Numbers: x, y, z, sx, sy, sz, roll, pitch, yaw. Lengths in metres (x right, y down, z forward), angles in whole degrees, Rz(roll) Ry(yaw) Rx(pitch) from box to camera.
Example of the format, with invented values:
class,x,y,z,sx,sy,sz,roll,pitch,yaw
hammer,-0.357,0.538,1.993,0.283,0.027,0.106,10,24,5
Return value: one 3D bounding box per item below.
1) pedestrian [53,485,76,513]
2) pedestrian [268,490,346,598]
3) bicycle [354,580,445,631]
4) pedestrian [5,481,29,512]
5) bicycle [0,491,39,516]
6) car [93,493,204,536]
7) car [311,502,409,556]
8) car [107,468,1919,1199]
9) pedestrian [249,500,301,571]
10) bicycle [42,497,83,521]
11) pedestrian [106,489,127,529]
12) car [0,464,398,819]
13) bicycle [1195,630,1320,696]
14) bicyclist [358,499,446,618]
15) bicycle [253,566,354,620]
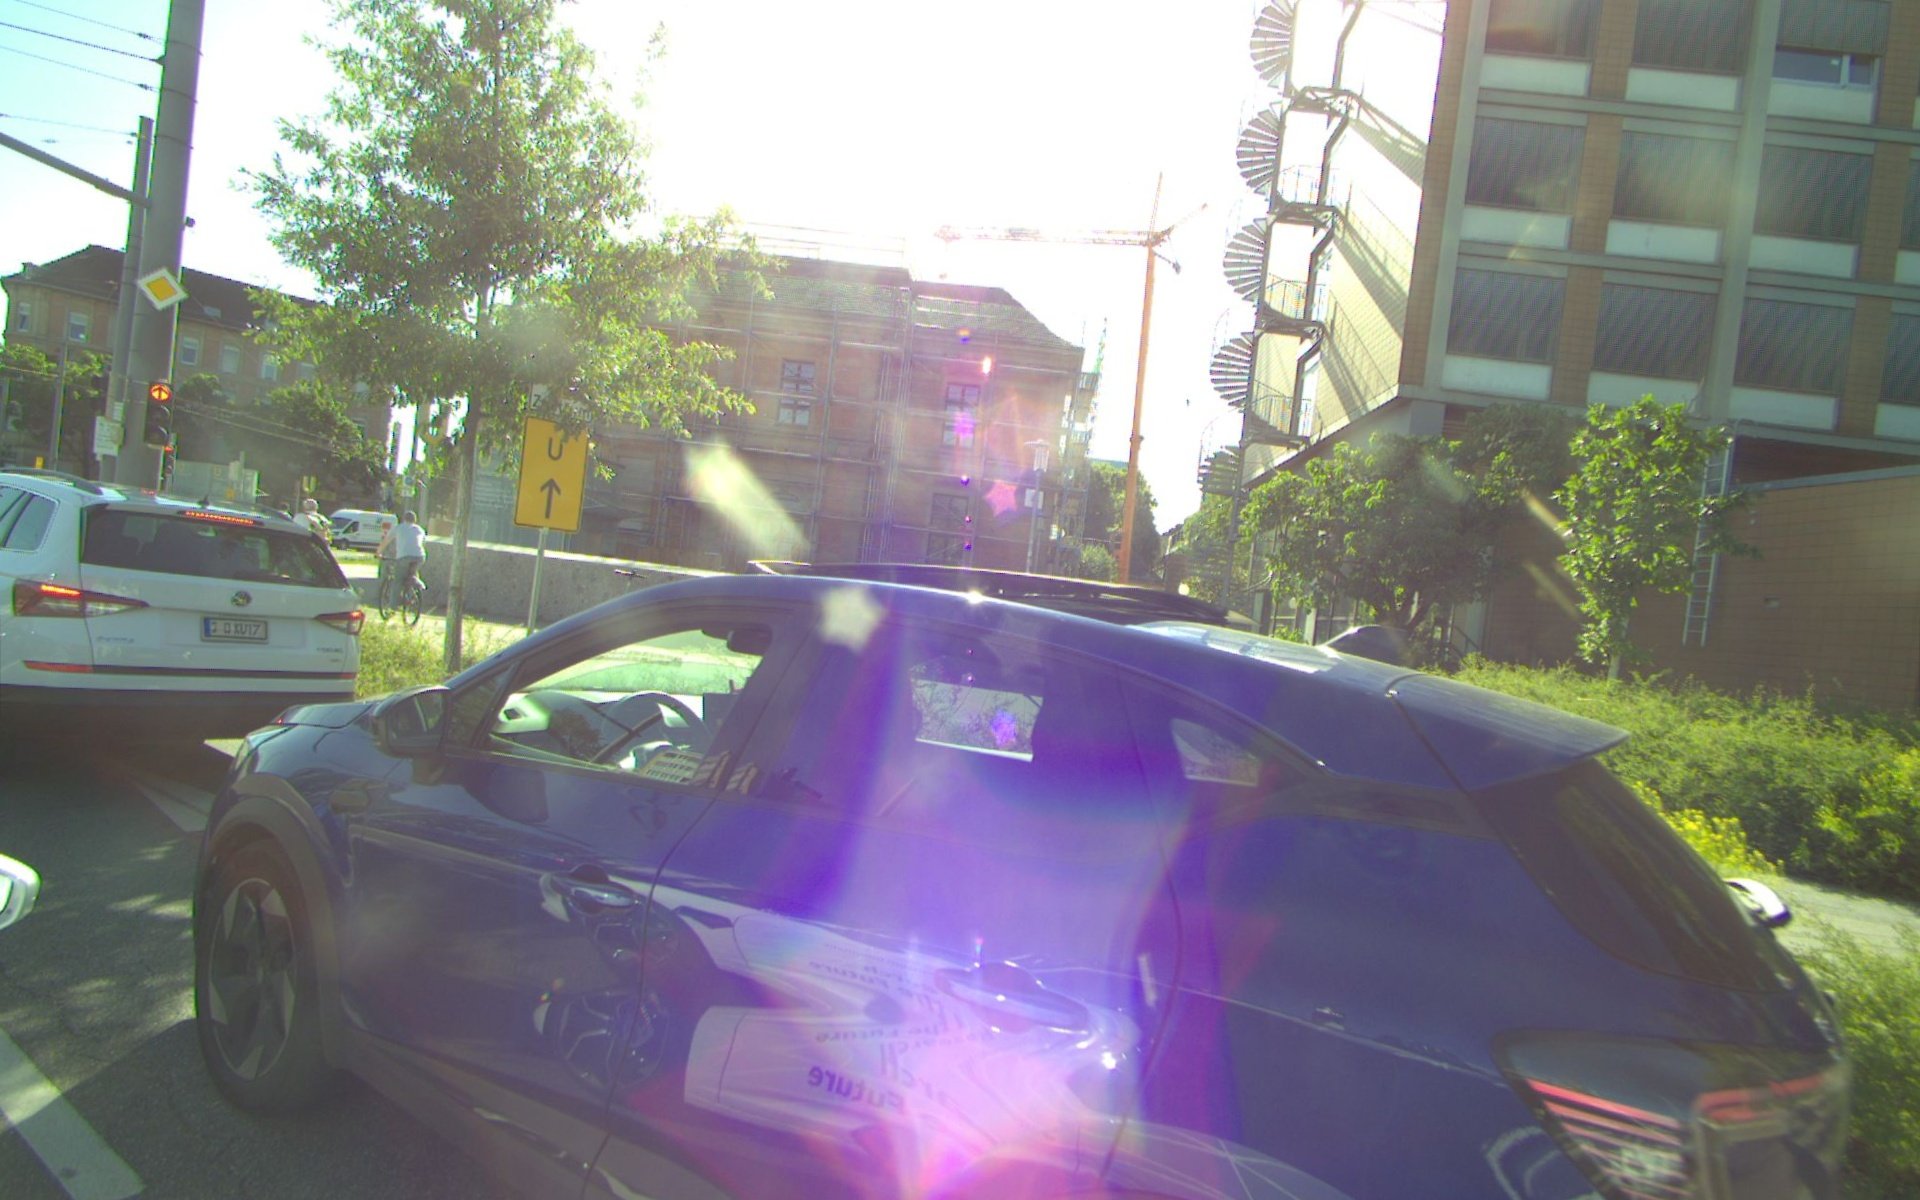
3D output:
class,x,y,z,sx,sy,sz,roll,pitch,yaw
pedestrian,-52.544,-5.920,59.015,0.538,1.536,0.706,7,1,-1
pedestrian,-10.350,-0.884,15.949,0.843,1.582,0.549,7,1,26
bicycle,-9.082,0.085,16.301,1.442,0.664,0.538,7,1,27
pedestrian,-50.663,-5.575,54.050,0.540,1.536,0.704,7,1,-14
bicycle,-50.758,-5.200,54.292,0.540,1.134,2.013,7,0,-14
car,-41.938,-4.387,52.102,1.672,1.521,4.267,7,0,12
car,-39.153,-4.580,65.901,2.103,2.778,5.926,7,0,7
car,-0.363,0.686,2.656,4.017,1.625,1.703,7,0,33
pedestrian,-19.546,-1.812,28.720,0.886,1.883,0.922,6,1,-21
bicycle,-52.607,-5.329,59.004,0.540,1.134,2.018,7,0,-2
pedestrian,-45.104,-4.868,53.811,0.443,2.039,0.574,7,1,17
car,-5.728,0.057,6.572,4.227,1.662,1.696,7,0,33
bicycle,8.058,1.695,27.406,3.079,1.394,0.798,7,1,11
bicyclist,-9.060,-0.671,16.338,0.908,1.802,0.748,7,2,27
bicycle,-10.414,-0.118,15.952,1.695,0.664,0.537,7,3,26
